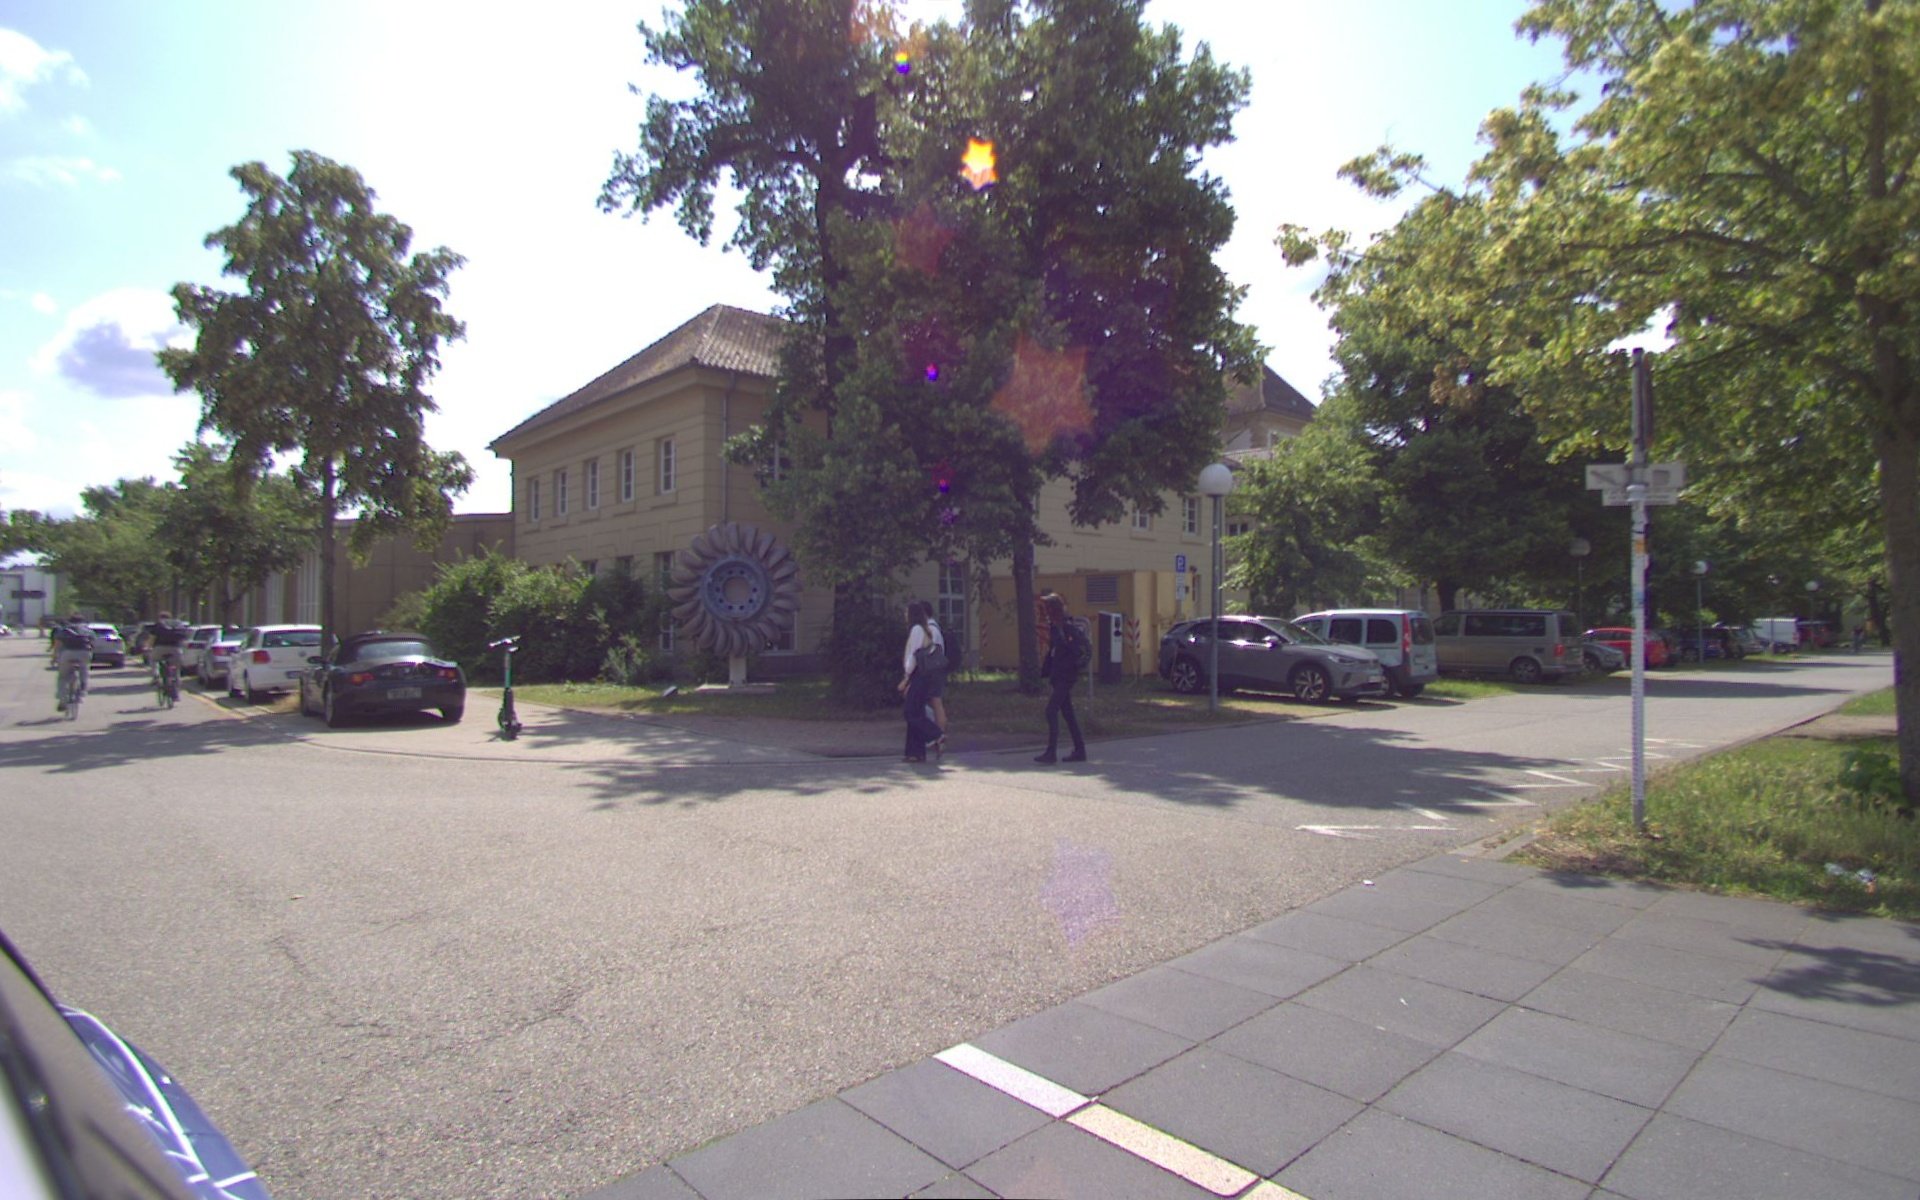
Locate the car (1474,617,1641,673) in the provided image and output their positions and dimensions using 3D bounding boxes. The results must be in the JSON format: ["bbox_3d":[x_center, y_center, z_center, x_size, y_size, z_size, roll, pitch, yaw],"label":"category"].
[{"bbox_3d":[18.495,1.340,31.460,1.785,1.553,4.129,1,-1,-42],"label":"car"}]

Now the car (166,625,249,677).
[{"bbox_3d":[-22.724,1.487,30.499,1.692,1.444,4.006,1,-2,-41],"label":"car"}]

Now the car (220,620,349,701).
[{"bbox_3d":[-13.398,1.133,20.008,1.611,1.442,3.637,1,-2,-42],"label":"car"}]

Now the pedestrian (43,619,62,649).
[{"bbox_3d":[-52.683,1.969,58.747,0.529,1.694,0.587,0,-2,-11],"label":"pedestrian"}]

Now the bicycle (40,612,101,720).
[{"bbox_3d":[-14.743,1.058,16.760,1.759,1.693,0.580,-2,-2,43],"label":"bicycle"}]

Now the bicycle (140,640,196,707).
[{"bbox_3d":[-14.526,1.321,18.540,0.617,1.150,1.814,1,-2,-43],"label":"bicycle"}]

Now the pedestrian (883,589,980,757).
[{"bbox_3d":[-0.318,0.763,10.787,0.990,1.729,0.622,0,-2,-6],"label":"pedestrian"}]

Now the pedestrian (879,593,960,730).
[{"bbox_3d":[-0.534,0.783,13.132,0.957,1.729,0.559,0,-1,-12],"label":"pedestrian"}]

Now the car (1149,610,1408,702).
[{"bbox_3d":[6.250,1.034,20.308,1.871,1.593,4.655,1,-1,-42],"label":"car"}]

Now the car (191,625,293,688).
[{"bbox_3d":[-17.335,1.305,24.365,1.624,1.387,4.006,1,-2,-41],"label":"car"}]

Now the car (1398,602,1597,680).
[{"bbox_3d":[14.774,1.052,28.016,1.783,1.974,4.536,1,-1,-39],"label":"car"}]

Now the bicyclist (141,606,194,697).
[{"bbox_3d":[-14.601,0.936,18.638,0.621,1.618,1.330,1,-2,-44],"label":"bicyclist"}]

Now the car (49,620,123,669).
[{"bbox_3d":[-31.563,1.579,36.579,1.904,1.646,4.378,1,-2,-41],"label":"car"}]

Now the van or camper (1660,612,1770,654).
[{"bbox_3d":[36.930,1.579,49.558,1.785,1.900,4.088,1,-1,-42],"label":"van or camper"}]

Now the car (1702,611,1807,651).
[{"bbox_3d":[42.029,1.616,53.595,1.785,1.958,4.129,1,-1,-42],"label":"car"}]

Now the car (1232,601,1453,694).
[{"bbox_3d":[8.187,0.949,21.908,1.785,1.799,4.129,1,-1,-42],"label":"car"}]

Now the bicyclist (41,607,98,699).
[{"bbox_3d":[-14.774,0.867,16.783,1.233,1.464,0.580,-2,-2,43],"label":"bicyclist"}]

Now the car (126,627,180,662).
[{"bbox_3d":[-40.608,2.197,50.898,1.904,1.646,4.378,1,-2,-41],"label":"car"}]

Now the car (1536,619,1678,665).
[{"bbox_3d":[24.011,1.515,37.675,1.784,1.553,4.132,1,-1,-39],"label":"car"}]

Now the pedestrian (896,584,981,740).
[{"bbox_3d":[-0.270,0.729,12.168,0.885,1.800,0.728,0,-1,-12],"label":"pedestrian"}]

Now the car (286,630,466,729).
[{"bbox_3d":[-8.949,1.114,15.383,1.675,1.305,3.767,1,-2,-41],"label":"car"}]

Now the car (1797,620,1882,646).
[{"bbox_3d":[58.483,2.192,67.343,1.785,1.606,4.129,1,-1,-42],"label":"car"}]

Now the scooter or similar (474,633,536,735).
[{"bbox_3d":[-5.818,1.040,12.921,0.463,1.225,1.207,1,-2,-37],"label":"scooter or similar"}]

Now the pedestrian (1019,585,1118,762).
[{"bbox_3d":[1.148,0.762,10.757,0.858,1.800,0.570,1,-3,-28],"label":"pedestrian"}]

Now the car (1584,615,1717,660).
[{"bbox_3d":[27.714,1.464,40.711,1.785,1.679,4.129,1,-1,-42],"label":"car"}]

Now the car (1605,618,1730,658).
[{"bbox_3d":[30.212,1.580,43.310,1.785,1.553,4.129,1,-1,-42],"label":"car"}]
